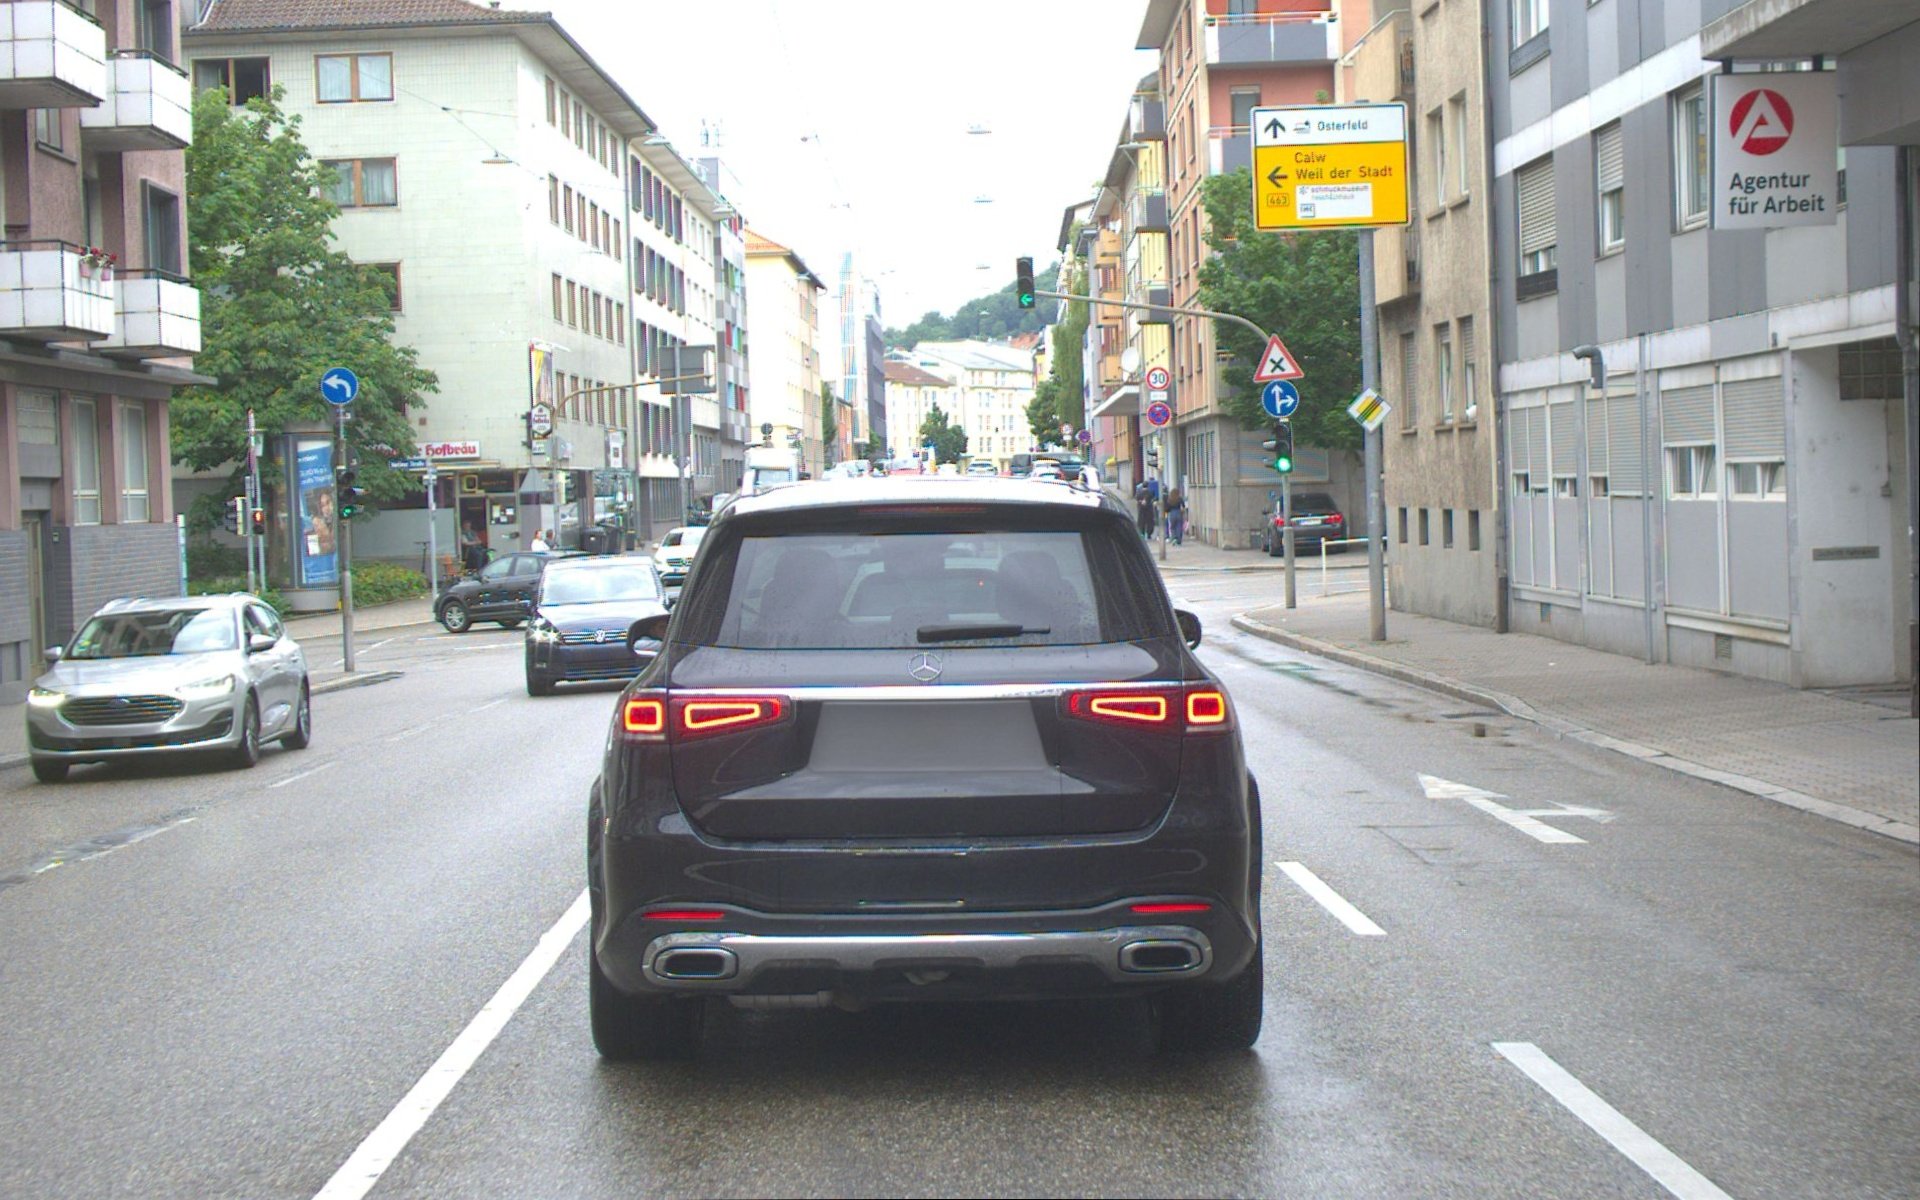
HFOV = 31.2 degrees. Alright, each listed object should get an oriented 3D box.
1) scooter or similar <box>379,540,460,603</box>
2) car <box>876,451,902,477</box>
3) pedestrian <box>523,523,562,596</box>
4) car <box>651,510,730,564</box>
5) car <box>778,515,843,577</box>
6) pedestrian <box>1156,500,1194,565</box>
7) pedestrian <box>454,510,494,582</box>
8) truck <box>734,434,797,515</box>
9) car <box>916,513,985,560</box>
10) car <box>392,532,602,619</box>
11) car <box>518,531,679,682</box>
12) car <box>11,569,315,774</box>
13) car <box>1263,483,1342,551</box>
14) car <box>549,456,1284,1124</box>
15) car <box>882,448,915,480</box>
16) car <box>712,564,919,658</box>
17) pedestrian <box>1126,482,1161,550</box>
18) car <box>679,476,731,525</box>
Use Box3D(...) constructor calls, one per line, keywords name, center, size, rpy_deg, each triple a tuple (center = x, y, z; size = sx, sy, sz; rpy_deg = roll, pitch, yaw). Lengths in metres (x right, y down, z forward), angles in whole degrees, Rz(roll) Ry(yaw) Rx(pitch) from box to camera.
Box3D(name="scooter or similar", center=(-13.246, -0.703, 84.280), size=(0.877, 1.455, 1.853), rpy_deg=(-1, 1, 33))
Box3D(name="car", center=(-4.995, -9.506, 240.382), size=(1.618, 1.534, 4.218), rpy_deg=(-3, 0, -3))
Box3D(name="pedestrian", center=(-10.313, -1.007, 84.880), size=(0.636, 1.758, 0.772), rpy_deg=(-2, 1, 16))
Box3D(name="car", center=(-7.109, -1.650, 90.911), size=(1.885, 1.260, 4.218), rpy_deg=(-3, 0, -3))
Box3D(name="car", center=(-3.995, -1.422, 91.660), size=(1.618, 1.534, 4.218), rpy_deg=(-3, 0, -3))
Box3D(name="pedestrian", center=(6.034, -1.901, 96.471), size=(0.923, 1.798, 0.706), rpy_deg=(-2, 1, -2))
Box3D(name="pedestrian", center=(-13.075, -1.455, 92.436), size=(0.923, 1.895, 0.706), rpy_deg=(-2, 1, -2))
Box3D(name="truck", center=(-8.294, -5.307, 147.467), size=(2.479, 3.035, 9.921), rpy_deg=(-3, 0, -3))
Box3D(name="car", center=(-0.314, -1.972, 106.898), size=(1.993, 1.347, 4.000), rpy_deg=(-3, 1, -1))
Box3D(name="car", center=(-9.505, -0.487, 70.451), size=(4.355, 1.534, 1.774), rpy_deg=(-3, 0, 41))
Box3D(name="car", center=(-4.411, 0.033, 42.299), size=(1.772, 1.640, 4.413), rpy_deg=(-3, 2, -5))
Box3D(name="car", center=(-6.749, 0.558, 29.536), size=(1.772, 1.534, 4.359), rpy_deg=(-3, 0, -3))
Box3D(name="car", center=(8.451, -2.053, 85.033), size=(1.671, 1.583, 3.330), rpy_deg=(-2, 1, 2))
Box3D(name="car", center=(-0.142, 0.507, 11.618), size=(1.985, 1.799, 4.390), rpy_deg=(1, 0, -1))
Box3D(name="car", center=(-3.376, -7.482, 189.126), size=(1.618, 1.534, 4.218), rpy_deg=(-3, 0, -3))
Box3D(name="car", center=(-2.668, 0.225, 62.346), size=(1.772, 1.534, 4.358), rpy_deg=(-3, 0, -32))
Box3D(name="pedestrian", center=(5.564, -2.543, 104.125), size=(0.923, 2.007, 0.706), rpy_deg=(-2, 1, -2))
Box3D(name="car", center=(-9.038, -3.522, 122.043), size=(1.618, 1.534, 4.218), rpy_deg=(-3, 0, -3))
